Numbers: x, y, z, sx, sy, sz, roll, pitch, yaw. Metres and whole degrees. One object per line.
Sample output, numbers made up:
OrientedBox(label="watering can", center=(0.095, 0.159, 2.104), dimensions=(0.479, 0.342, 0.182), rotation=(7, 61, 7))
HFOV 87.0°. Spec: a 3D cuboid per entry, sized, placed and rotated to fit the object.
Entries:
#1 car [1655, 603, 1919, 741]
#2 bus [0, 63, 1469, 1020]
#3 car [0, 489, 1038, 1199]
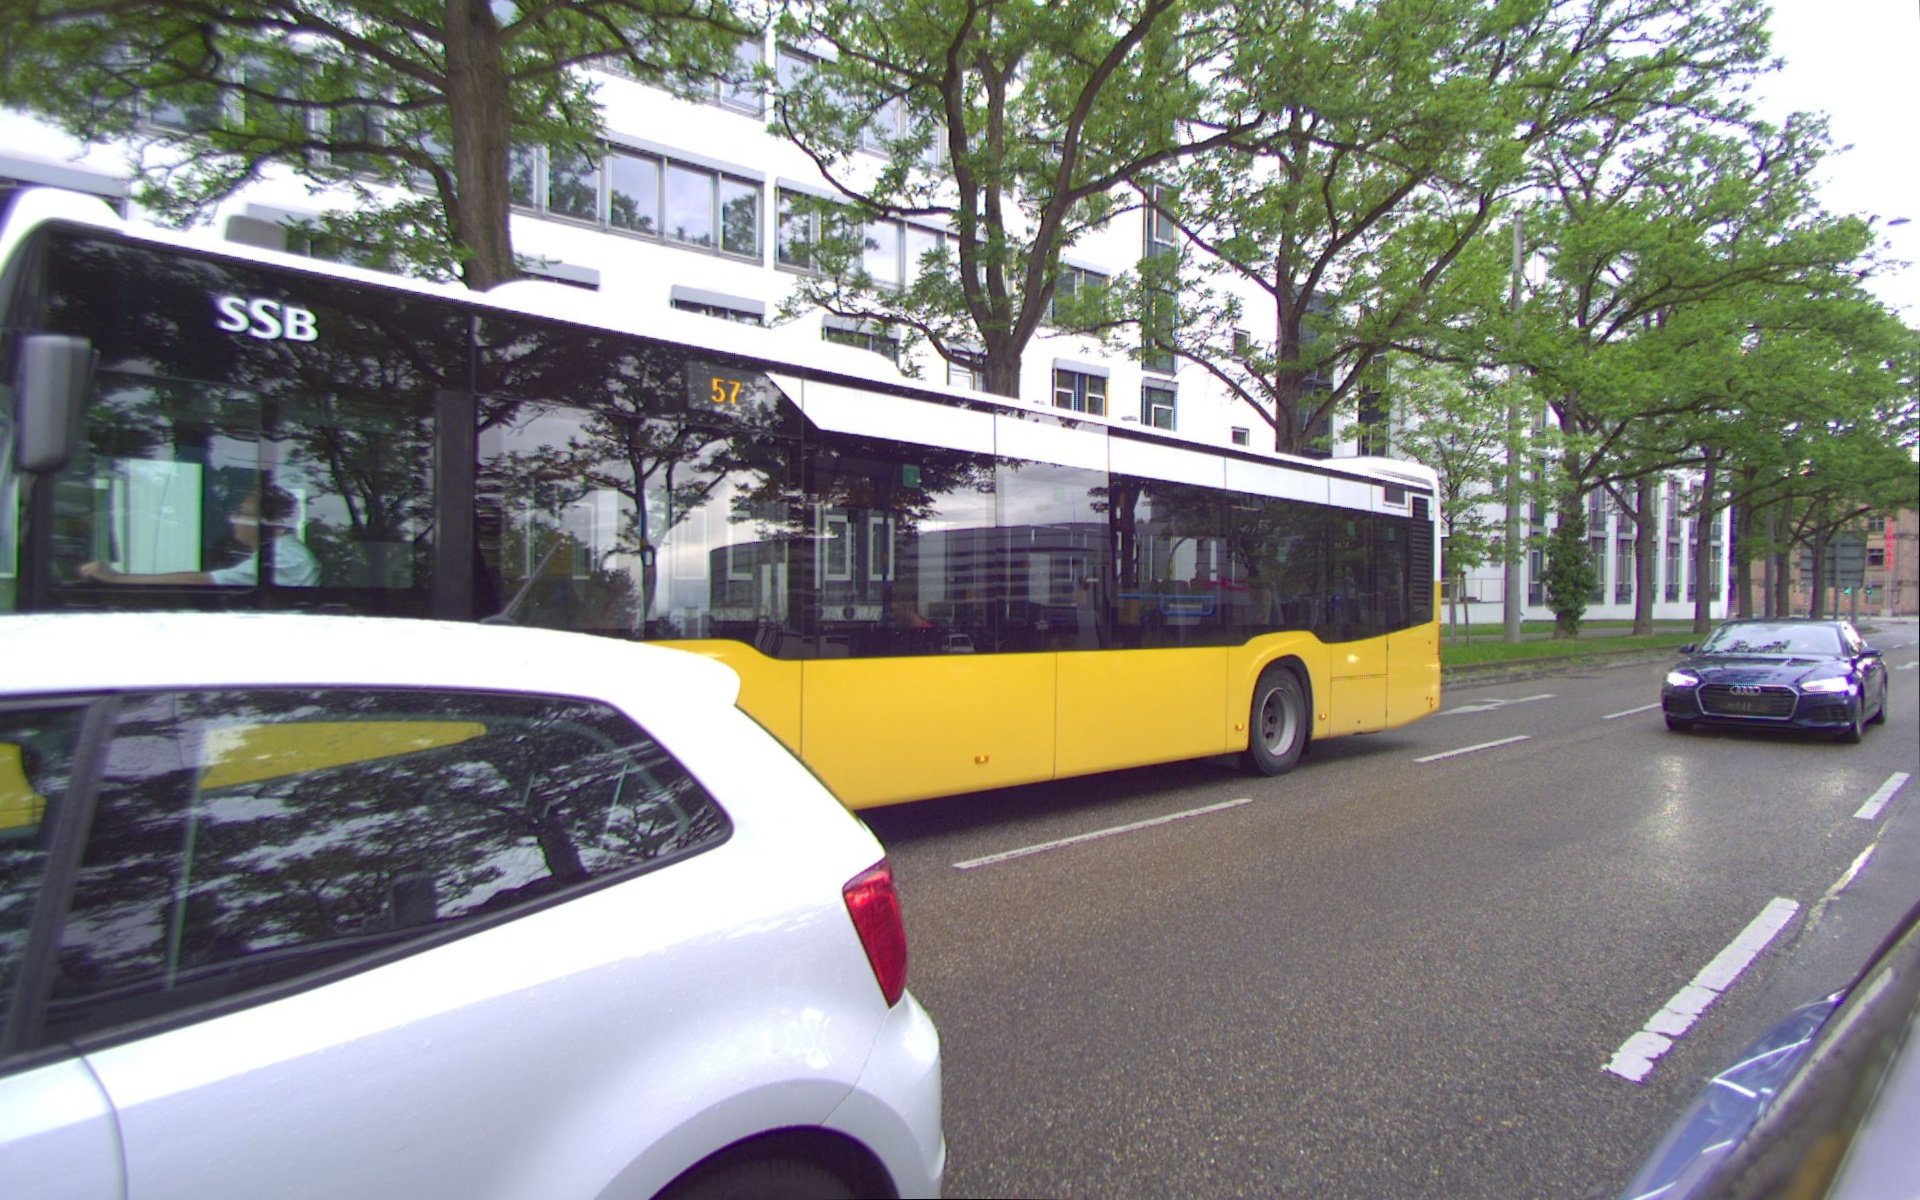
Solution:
OrientedBox(label="car", center=(10.417, 0.762, 12.637), dimensions=(4.257, 1.371, 1.876), rotation=(-1, 0, -41))
OrientedBox(label="bus", center=(0.166, -0.155, 8.142), dimensions=(11.933, 3.192, 2.731), rotation=(1, -1, -41))
OrientedBox(label="car", center=(-1.827, 0.628, 1.399), dimensions=(3.746, 1.450, 1.743), rotation=(-1, 0, -41))
